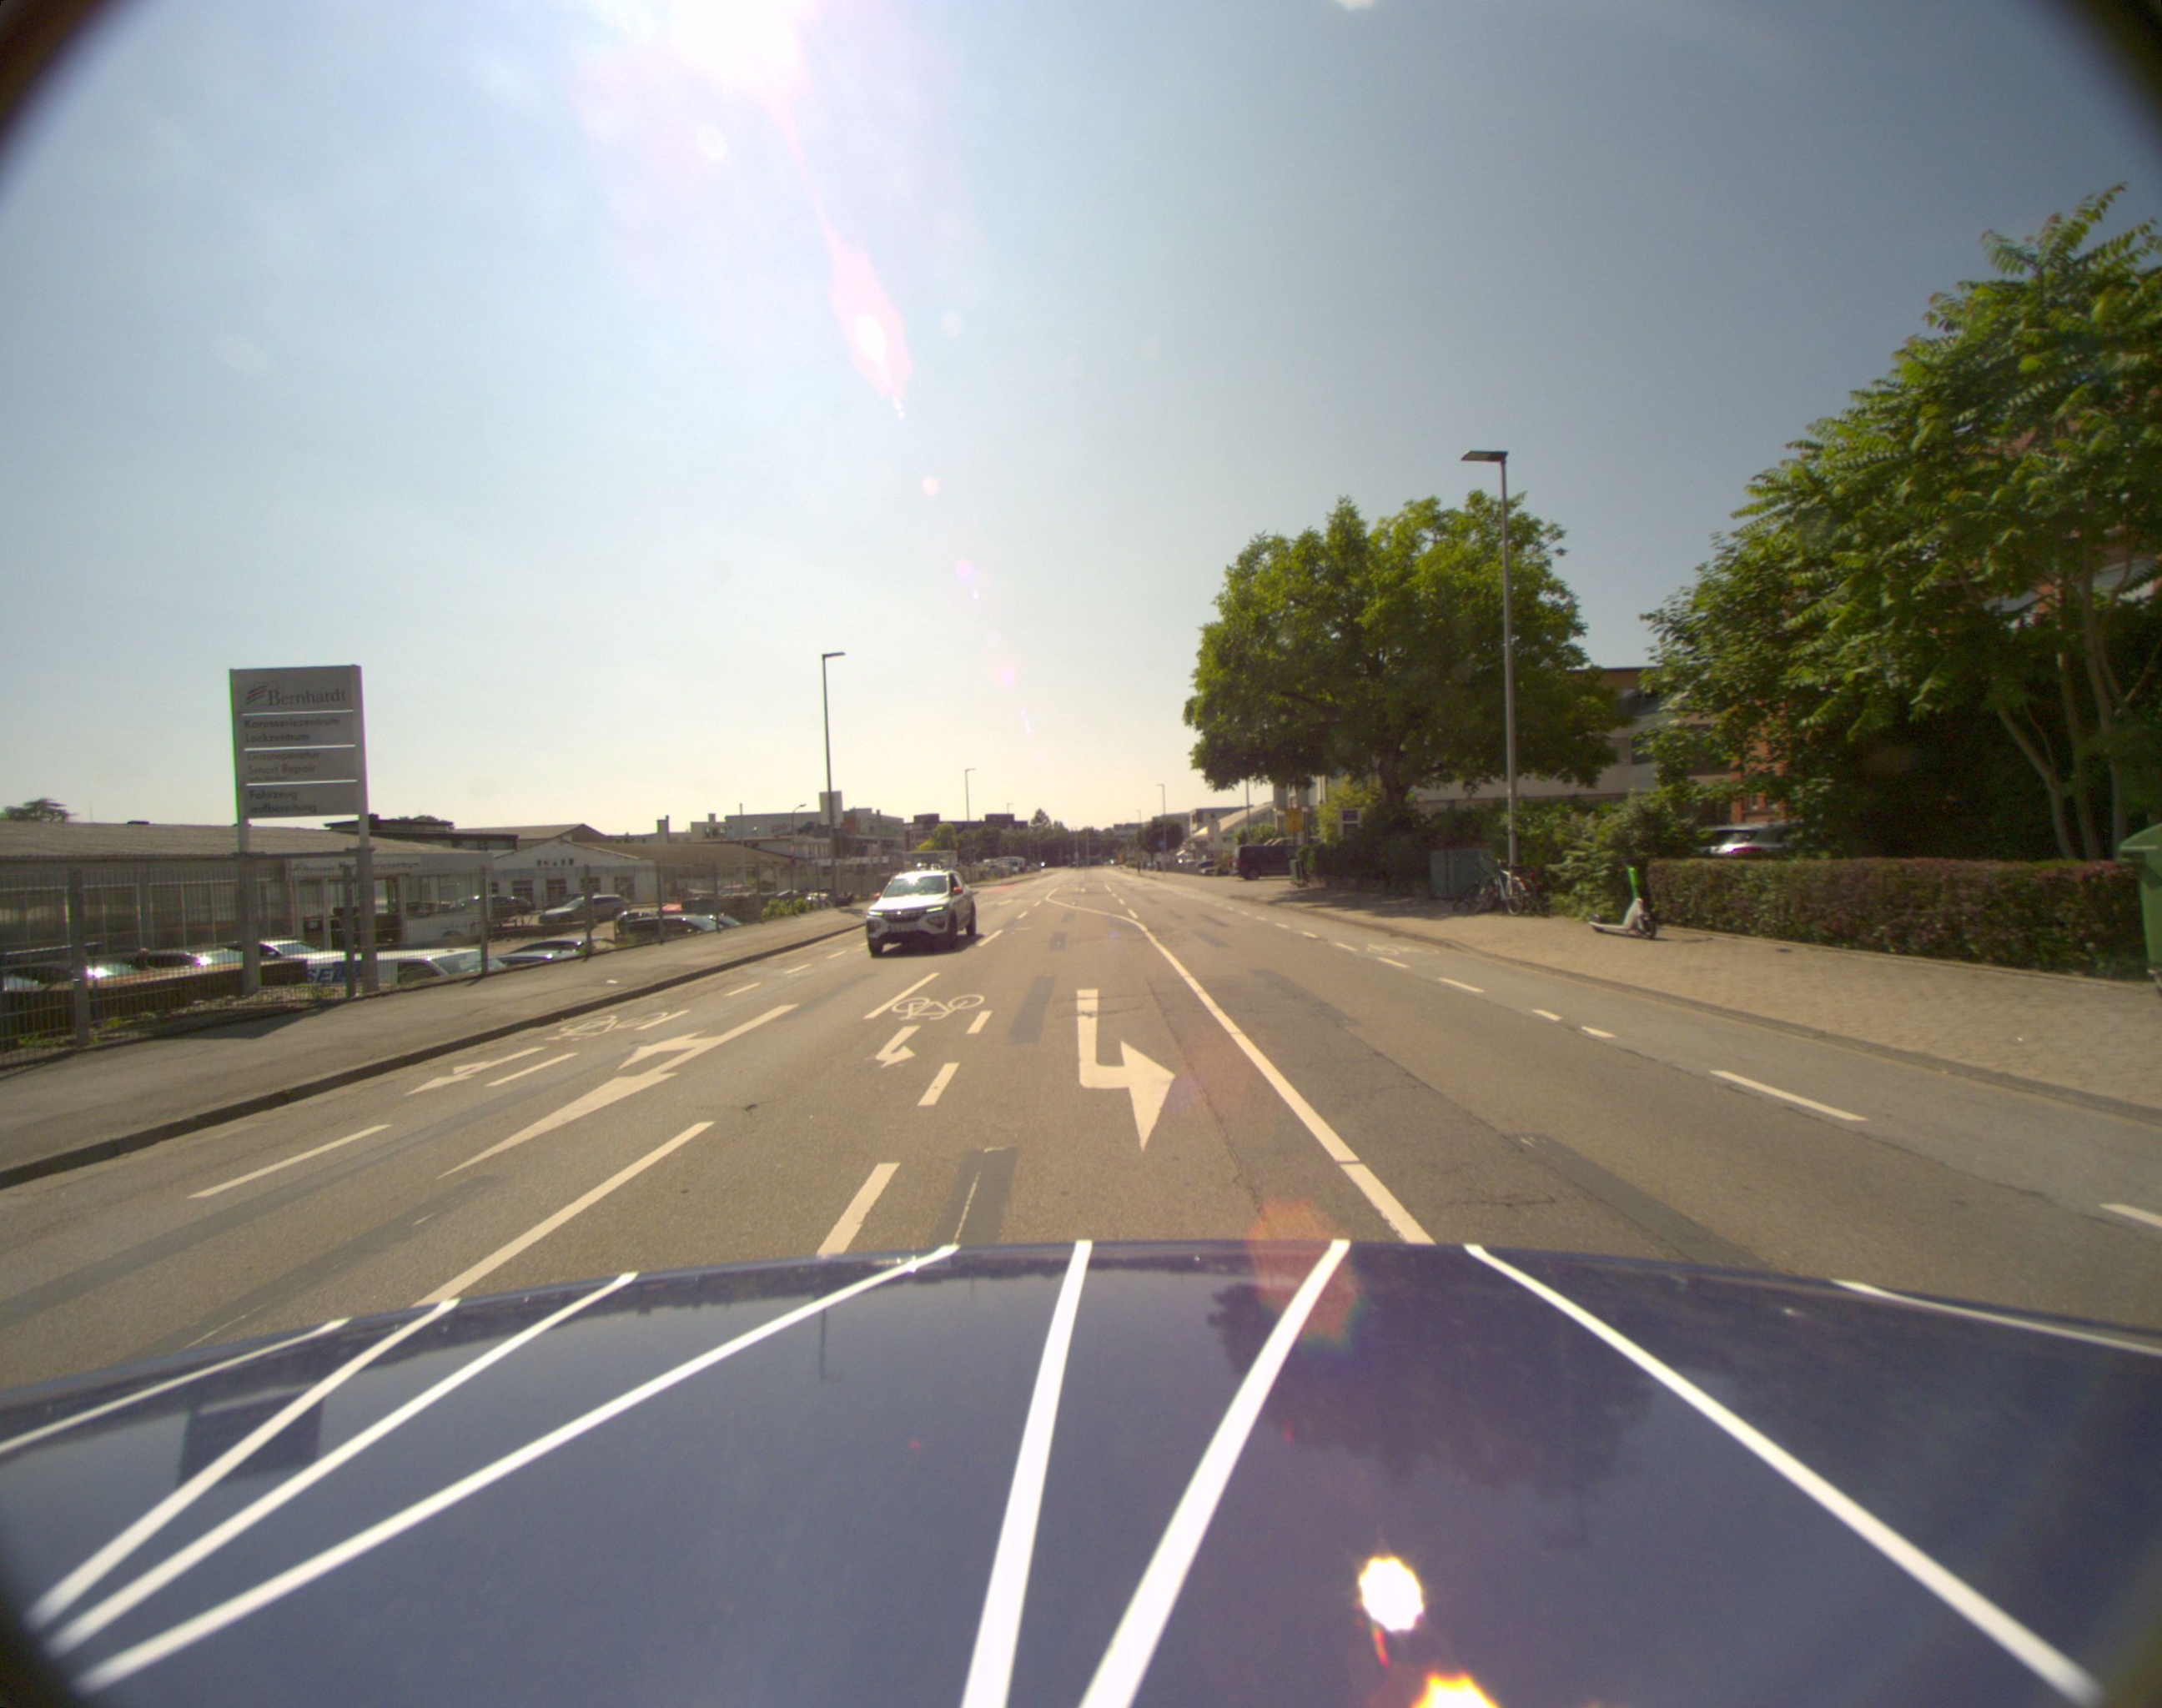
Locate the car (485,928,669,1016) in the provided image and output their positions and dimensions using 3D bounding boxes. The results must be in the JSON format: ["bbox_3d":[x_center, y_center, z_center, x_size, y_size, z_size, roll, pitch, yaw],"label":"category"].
[{"bbox_3d":[-15.019,3.485,22.827,3.997,2.002,2.000,-5,0,-1],"label":"car"}]

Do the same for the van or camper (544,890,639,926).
[{"bbox_3d":[-28.606,3.104,44.576,1.994,1.535,4.235,3,3,27],"label":"van or camper"}]

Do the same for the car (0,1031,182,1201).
[{"bbox_3d":[-16.291,3.866,11.219,3.994,1.819,2.001,-5,0,9],"label":"car"}]

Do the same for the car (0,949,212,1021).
[{"bbox_3d":[-29.532,3.914,22.965,3.998,1.653,1.999,-2,2,-2],"label":"car"}]

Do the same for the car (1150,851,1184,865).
[{"bbox_3d":[11.881,0.603,104.767,4.588,1.686,1.855,-3,0,-35],"label":"car"}]

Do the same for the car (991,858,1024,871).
[{"bbox_3d":[-12.099,1.741,125.765,5.247,1.940,2.000,-1,0,0],"label":"car"}]

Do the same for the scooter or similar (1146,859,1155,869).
[{"bbox_3d":[9.399,1.372,102.748,0.746,1.240,1.490,-3,0,-7],"label":"scooter or similar"}]

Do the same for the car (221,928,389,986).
[{"bbox_3d":[-28.694,3.785,28.217,3.998,1.653,1.999,-2,2,-2],"label":"car"}]

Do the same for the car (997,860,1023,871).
[{"bbox_3d":[-11.498,1.822,122.905,3.931,1.584,1.798,-2,0,0],"label":"car"}]

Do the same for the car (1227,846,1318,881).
[{"bbox_3d":[10.727,0.539,42.781,4.577,1.854,2.093,-1,0,1],"label":"car"}]

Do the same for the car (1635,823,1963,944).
[{"bbox_3d":[12.159,0.454,13.108,3.773,1.830,1.787,2,1,4],"label":"car"}]

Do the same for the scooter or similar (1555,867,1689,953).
[{"bbox_3d":[7.993,0.782,11.319,0.649,1.121,1.622,-5,0,-6],"label":"scooter or similar"}]

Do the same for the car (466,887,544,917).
[{"bbox_3d":[-42.223,3.490,55.784,3.998,1.783,2.000,-4,0,-3],"label":"car"}]

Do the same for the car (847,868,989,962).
[{"bbox_3d":[-3.099,1.110,15.190,1.726,1.476,3.678,-4,0,4],"label":"car"}]

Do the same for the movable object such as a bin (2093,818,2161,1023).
[{"bbox_3d":[9.065,0.489,5.641,1.452,1.581,1.306,-2,0,-8],"label":"movable object such as a bin"}]

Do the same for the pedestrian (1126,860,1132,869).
[{"bbox_3d":[8.573,1.893,135.397,0.996,1.676,0.800,-2,0,11],"label":"pedestrian"}]

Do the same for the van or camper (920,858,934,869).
[{"bbox_3d":[-29.293,1.808,144.586,2.123,2.002,5.113,-2,0,-5],"label":"van or camper"}]

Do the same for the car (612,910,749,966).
[{"bbox_3d":[-14.880,3.102,28.406,3.997,1.641,2.000,-3,0,-1],"label":"car"}]

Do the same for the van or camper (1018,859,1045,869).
[{"bbox_3d":[-10.179,1.952,155.398,5.144,1.950,1.982,-1,1,-30],"label":"van or camper"}]

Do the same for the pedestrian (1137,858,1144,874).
[{"bbox_3d":[7.371,1.499,94.250,0.734,1.856,1.047,-2,0,6],"label":"pedestrian"}]

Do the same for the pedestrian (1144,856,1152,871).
[{"bbox_3d":[8.806,1.239,99.792,0.725,1.837,0.911,-2,0,-5],"label":"pedestrian"}]

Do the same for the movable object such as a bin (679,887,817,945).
[{"bbox_3d":[-14.870,2.736,34.128,5.128,2.002,2.000,-5,0,0],"label":"movable object such as a bin"}]

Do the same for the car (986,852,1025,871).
[{"bbox_3d":[-12.668,1.289,128.411,6.243,2.852,2.320,-2,0,1],"label":"car"}]

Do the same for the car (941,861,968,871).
[{"bbox_3d":[-23.201,2.267,139.322,4.550,1.668,1.999,-2,0,-3],"label":"car"}]

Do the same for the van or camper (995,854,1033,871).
[{"bbox_3d":[-11.897,1.509,134.375,6.365,2.700,2.712,-2,0,0],"label":"van or camper"}]

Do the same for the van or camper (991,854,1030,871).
[{"bbox_3d":[-12.122,1.491,131.409,6.365,2.684,2.712,-2,0,0],"label":"van or camper"}]

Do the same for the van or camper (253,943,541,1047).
[{"bbox_3d":[-14.915,3.046,16.814,4.325,1.641,2.020,-3,0,-4],"label":"van or camper"}]

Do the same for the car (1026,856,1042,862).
[{"bbox_3d":[-12.980,1.420,210.172,3.991,1.696,2.003,-2,0,22],"label":"car"}]

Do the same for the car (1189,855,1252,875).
[{"bbox_3d":[11.539,0.910,62.931,4.751,1.472,2.048,-2,0,-1],"label":"car"}]

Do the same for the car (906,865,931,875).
[{"bbox_3d":[-29.595,2.876,138.819,4.117,1.722,1.999,-2,0,-3],"label":"car"}]

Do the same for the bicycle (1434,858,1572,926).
[{"bbox_3d":[8.272,0.694,15.123,1.029,1.111,2.765,-6,0,-2],"label":"bicycle"}]
